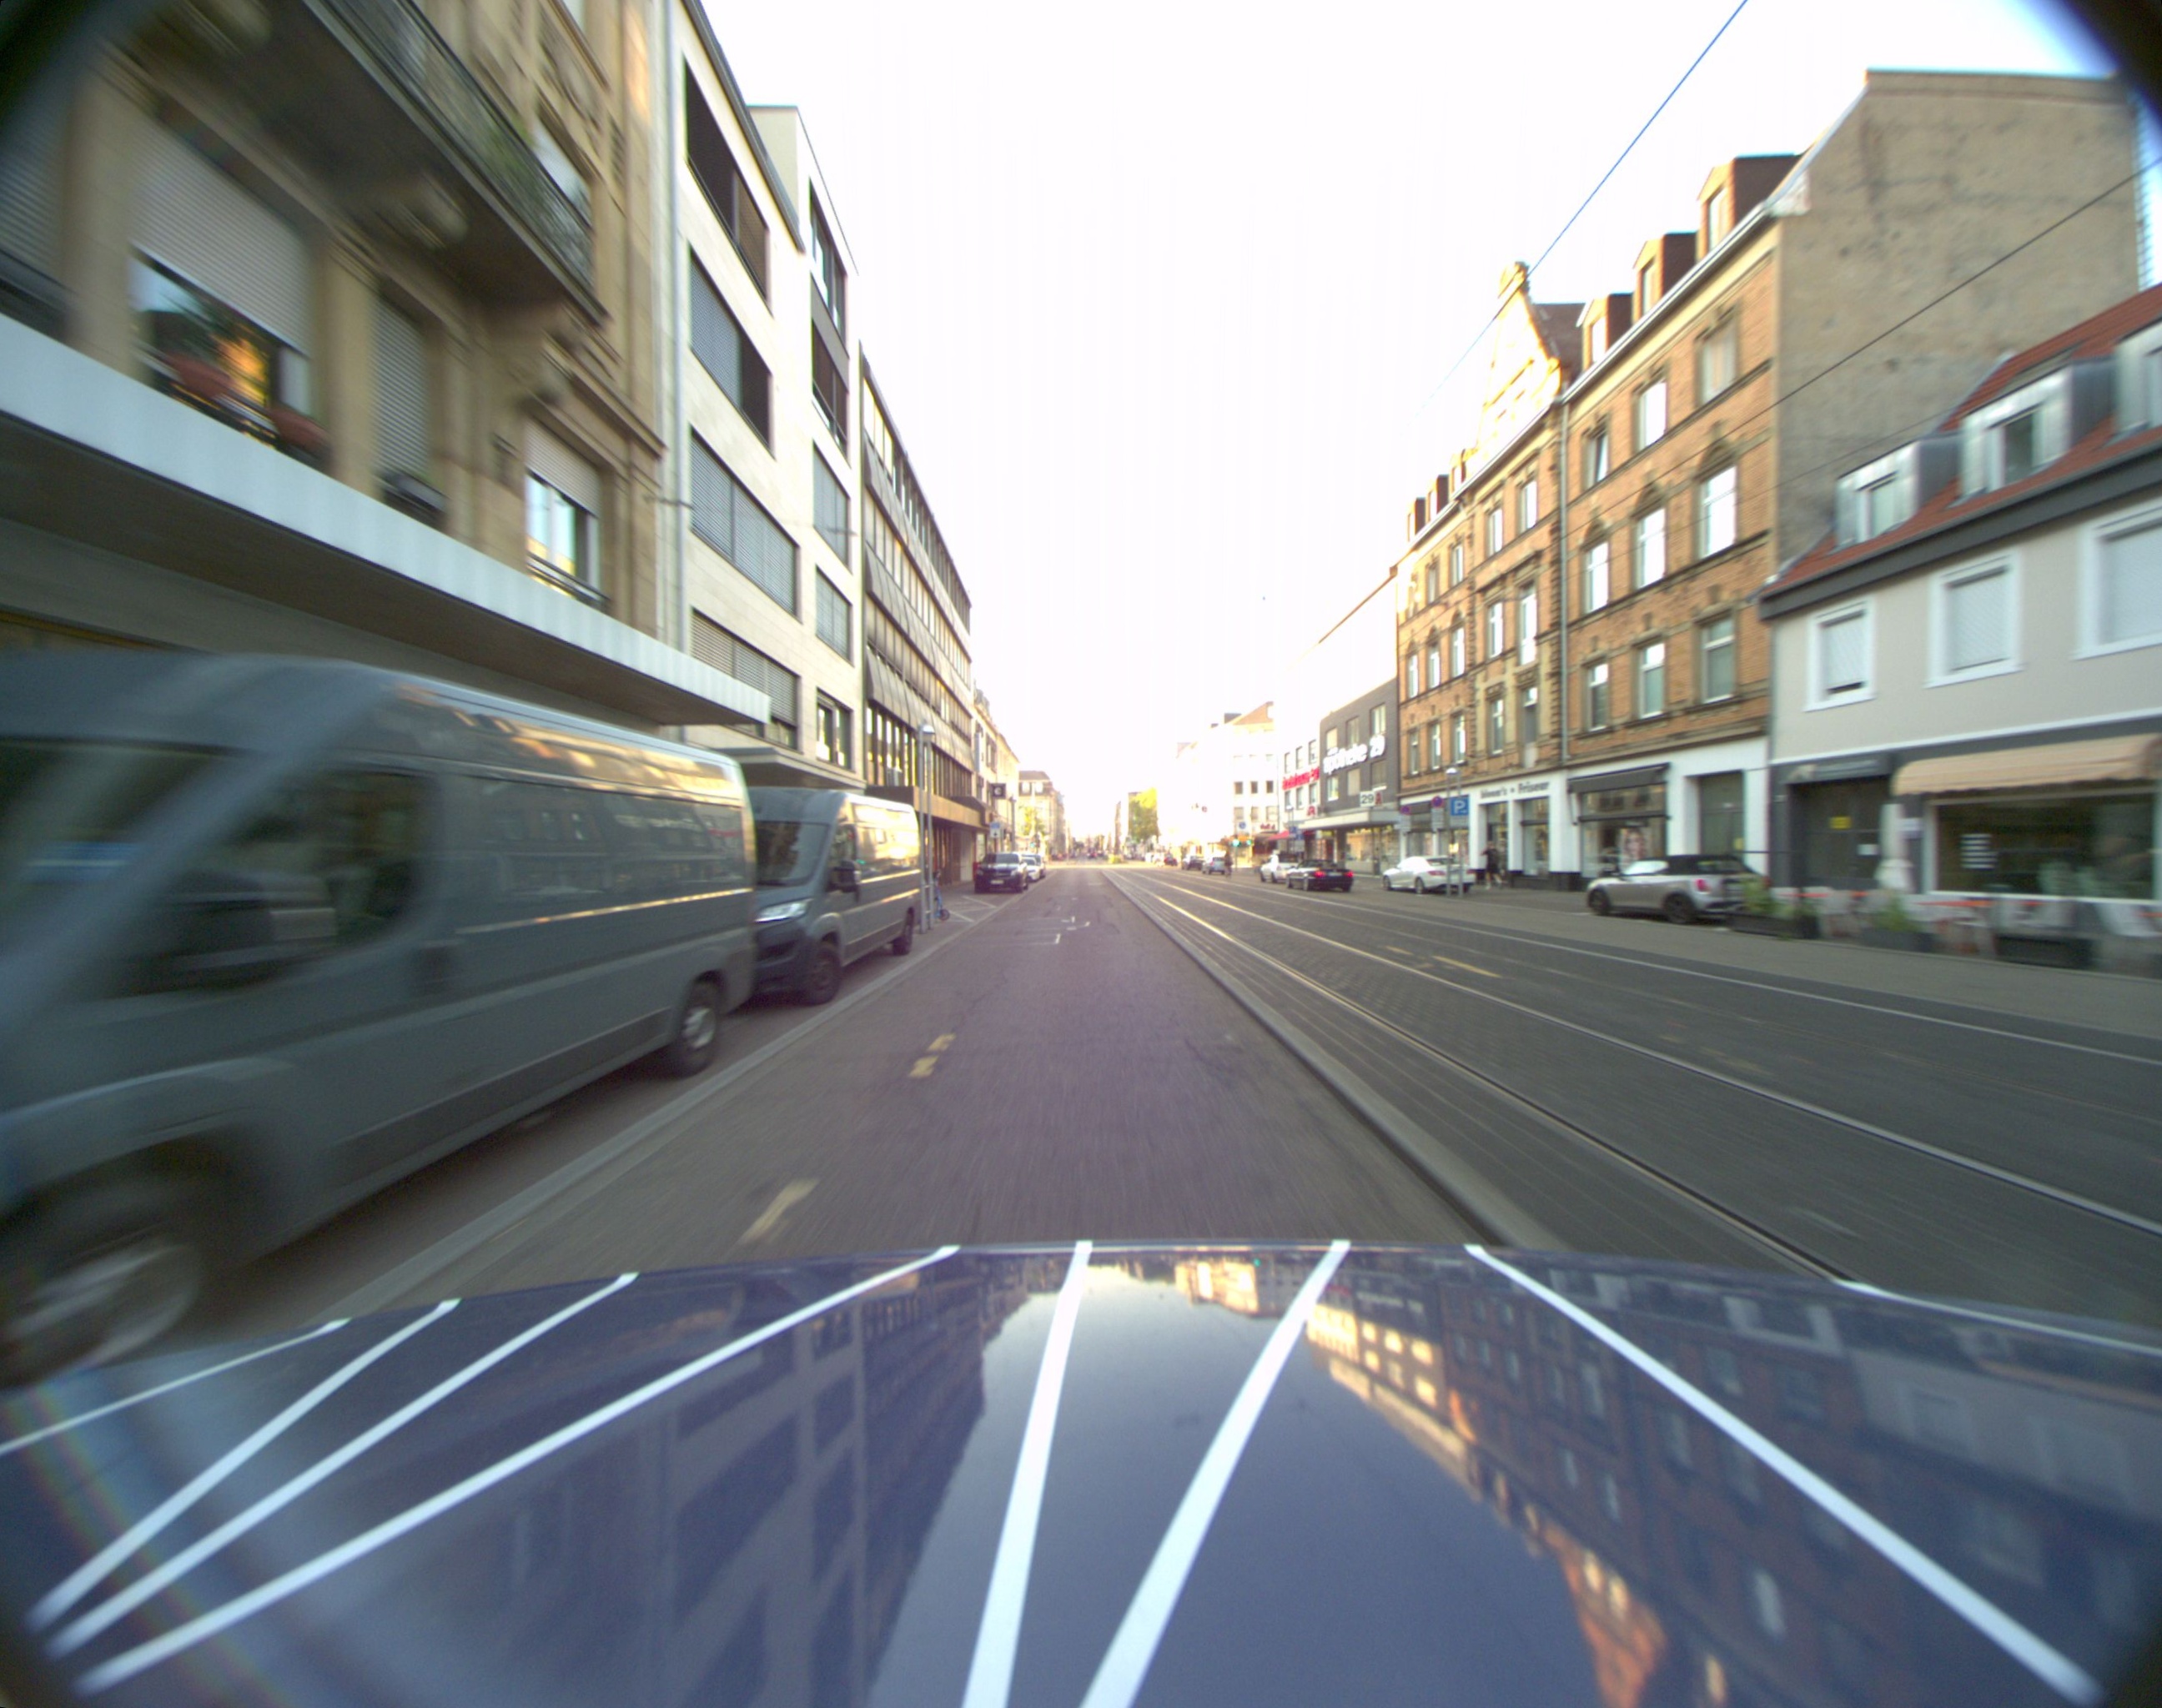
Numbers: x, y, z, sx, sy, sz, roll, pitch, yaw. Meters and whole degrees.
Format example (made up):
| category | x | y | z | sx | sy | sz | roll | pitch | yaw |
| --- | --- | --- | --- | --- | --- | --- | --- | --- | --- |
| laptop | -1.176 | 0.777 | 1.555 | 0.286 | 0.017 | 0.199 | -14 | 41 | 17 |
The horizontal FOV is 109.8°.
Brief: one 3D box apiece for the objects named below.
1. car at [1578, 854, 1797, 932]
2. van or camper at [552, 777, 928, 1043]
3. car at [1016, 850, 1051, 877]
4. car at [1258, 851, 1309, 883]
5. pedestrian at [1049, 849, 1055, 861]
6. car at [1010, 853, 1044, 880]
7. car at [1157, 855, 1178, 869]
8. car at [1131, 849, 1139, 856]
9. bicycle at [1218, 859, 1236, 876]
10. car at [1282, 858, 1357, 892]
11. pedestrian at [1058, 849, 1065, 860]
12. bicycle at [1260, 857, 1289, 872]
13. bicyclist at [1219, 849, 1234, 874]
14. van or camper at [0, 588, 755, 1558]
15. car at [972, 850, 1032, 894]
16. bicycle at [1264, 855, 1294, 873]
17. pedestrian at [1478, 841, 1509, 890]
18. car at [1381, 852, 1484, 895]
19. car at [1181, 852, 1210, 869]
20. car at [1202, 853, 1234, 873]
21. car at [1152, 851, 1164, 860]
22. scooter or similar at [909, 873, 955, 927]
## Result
| category | x | y | z | sx | sy | sz | roll | pitch | yaw |
| --- | --- | --- | --- | --- | --- | --- | --- | --- | --- |
| car | 13.071 | 0.761 | 16.728 | 1.738 | 1.381 | 3.864 | -3 | 1 | 1 |
| van or camper | -3.776 | 0.498 | 10.096 | 2.194 | 2.412 | 6.131 | 1 | 1 | 0 |
| car | -3.143 | 0.584 | 51.089 | 1.919 | 1.707 | 4.563 | 1 | 1 | 1 |
| car | 10.500 | 0.640 | 39.668 | 1.671 | 1.497 | 3.680 | 1 | 1 | 0 |
| pedestrian | -4.206 | 0.141 | 111.015 | 0.806 | 1.603 | 0.993 | -2 | 2 | 0 |
| car | -3.173 | 0.721 | 45.301 | 1.770 | 1.477 | 3.872 | 1 | 1 | 0 |
| car | 9.506 | 0.833 | 83.717 | 1.919 | 1.378 | 4.563 | 1 | 1 | 1 |
| car | 13.897 | -0.393 | 195.744 | 1.847 | 1.626 | 4.000 | -1 | 0 | 3 |
| bicycle | 8.988 | 0.815 | 46.885 | 0.695 | 1.028 | 2.081 | -1 | 1 | -1 |
| car | 9.650 | 0.819 | 31.055 | 1.671 | 1.221 | 4.273 | 1 | 1 | 0 |
| pedestrian | -2.856 | 0.039 | 111.384 | 0.806 | 1.603 | 0.993 | -2 | 2 | 0 |
| bicycle | 13.740 | 0.732 | 54.043 | 1.860 | 0.978 | 0.607 | -4 | 1 | 1 |
| bicyclist | 8.983 | 0.456 | 46.926 | 0.695 | 1.556 | 0.799 | -1 | 1 | -1 |
| van or camper | -3.800 | 0.515 | 3.591 | 2.194 | 2.412 | 5.516 | 1 | 1 | -1 |
| car | -3.336 | 0.722 | 32.957 | 1.989 | 1.724 | 4.670 | 1 | 1 | 1 |
| bicycle | 13.694 | 0.678 | 52.621 | 1.860 | 1.128 | 0.607 | -4 | 1 | 1 |
| pedestrian | 15.302 | 0.419 | 28.176 | 0.649 | 1.762 | 0.855 | -2 | 1 | 1 |
| car | 13.201 | 0.681 | 28.835 | 1.764 | 1.381 | 4.272 | -3 | 1 | -2 |
| car | 10.153 | 0.530 | 67.566 | 1.919 | 1.378 | 4.563 | 1 | 1 | 1 |
| car | 10.186 | 0.611 | 56.729 | 1.762 | 1.378 | 4.061 | 1 | 1 | 1 |
| car | 13.171 | 0.237 | 130.942 | 1.847 | 1.626 | 4.000 | -1 | 0 | 3 |
| scooter or similar | -3.510 | 1.063 | 17.934 | 0.354 | 1.217 | 1.118 | 2 | 1 | 33 |
